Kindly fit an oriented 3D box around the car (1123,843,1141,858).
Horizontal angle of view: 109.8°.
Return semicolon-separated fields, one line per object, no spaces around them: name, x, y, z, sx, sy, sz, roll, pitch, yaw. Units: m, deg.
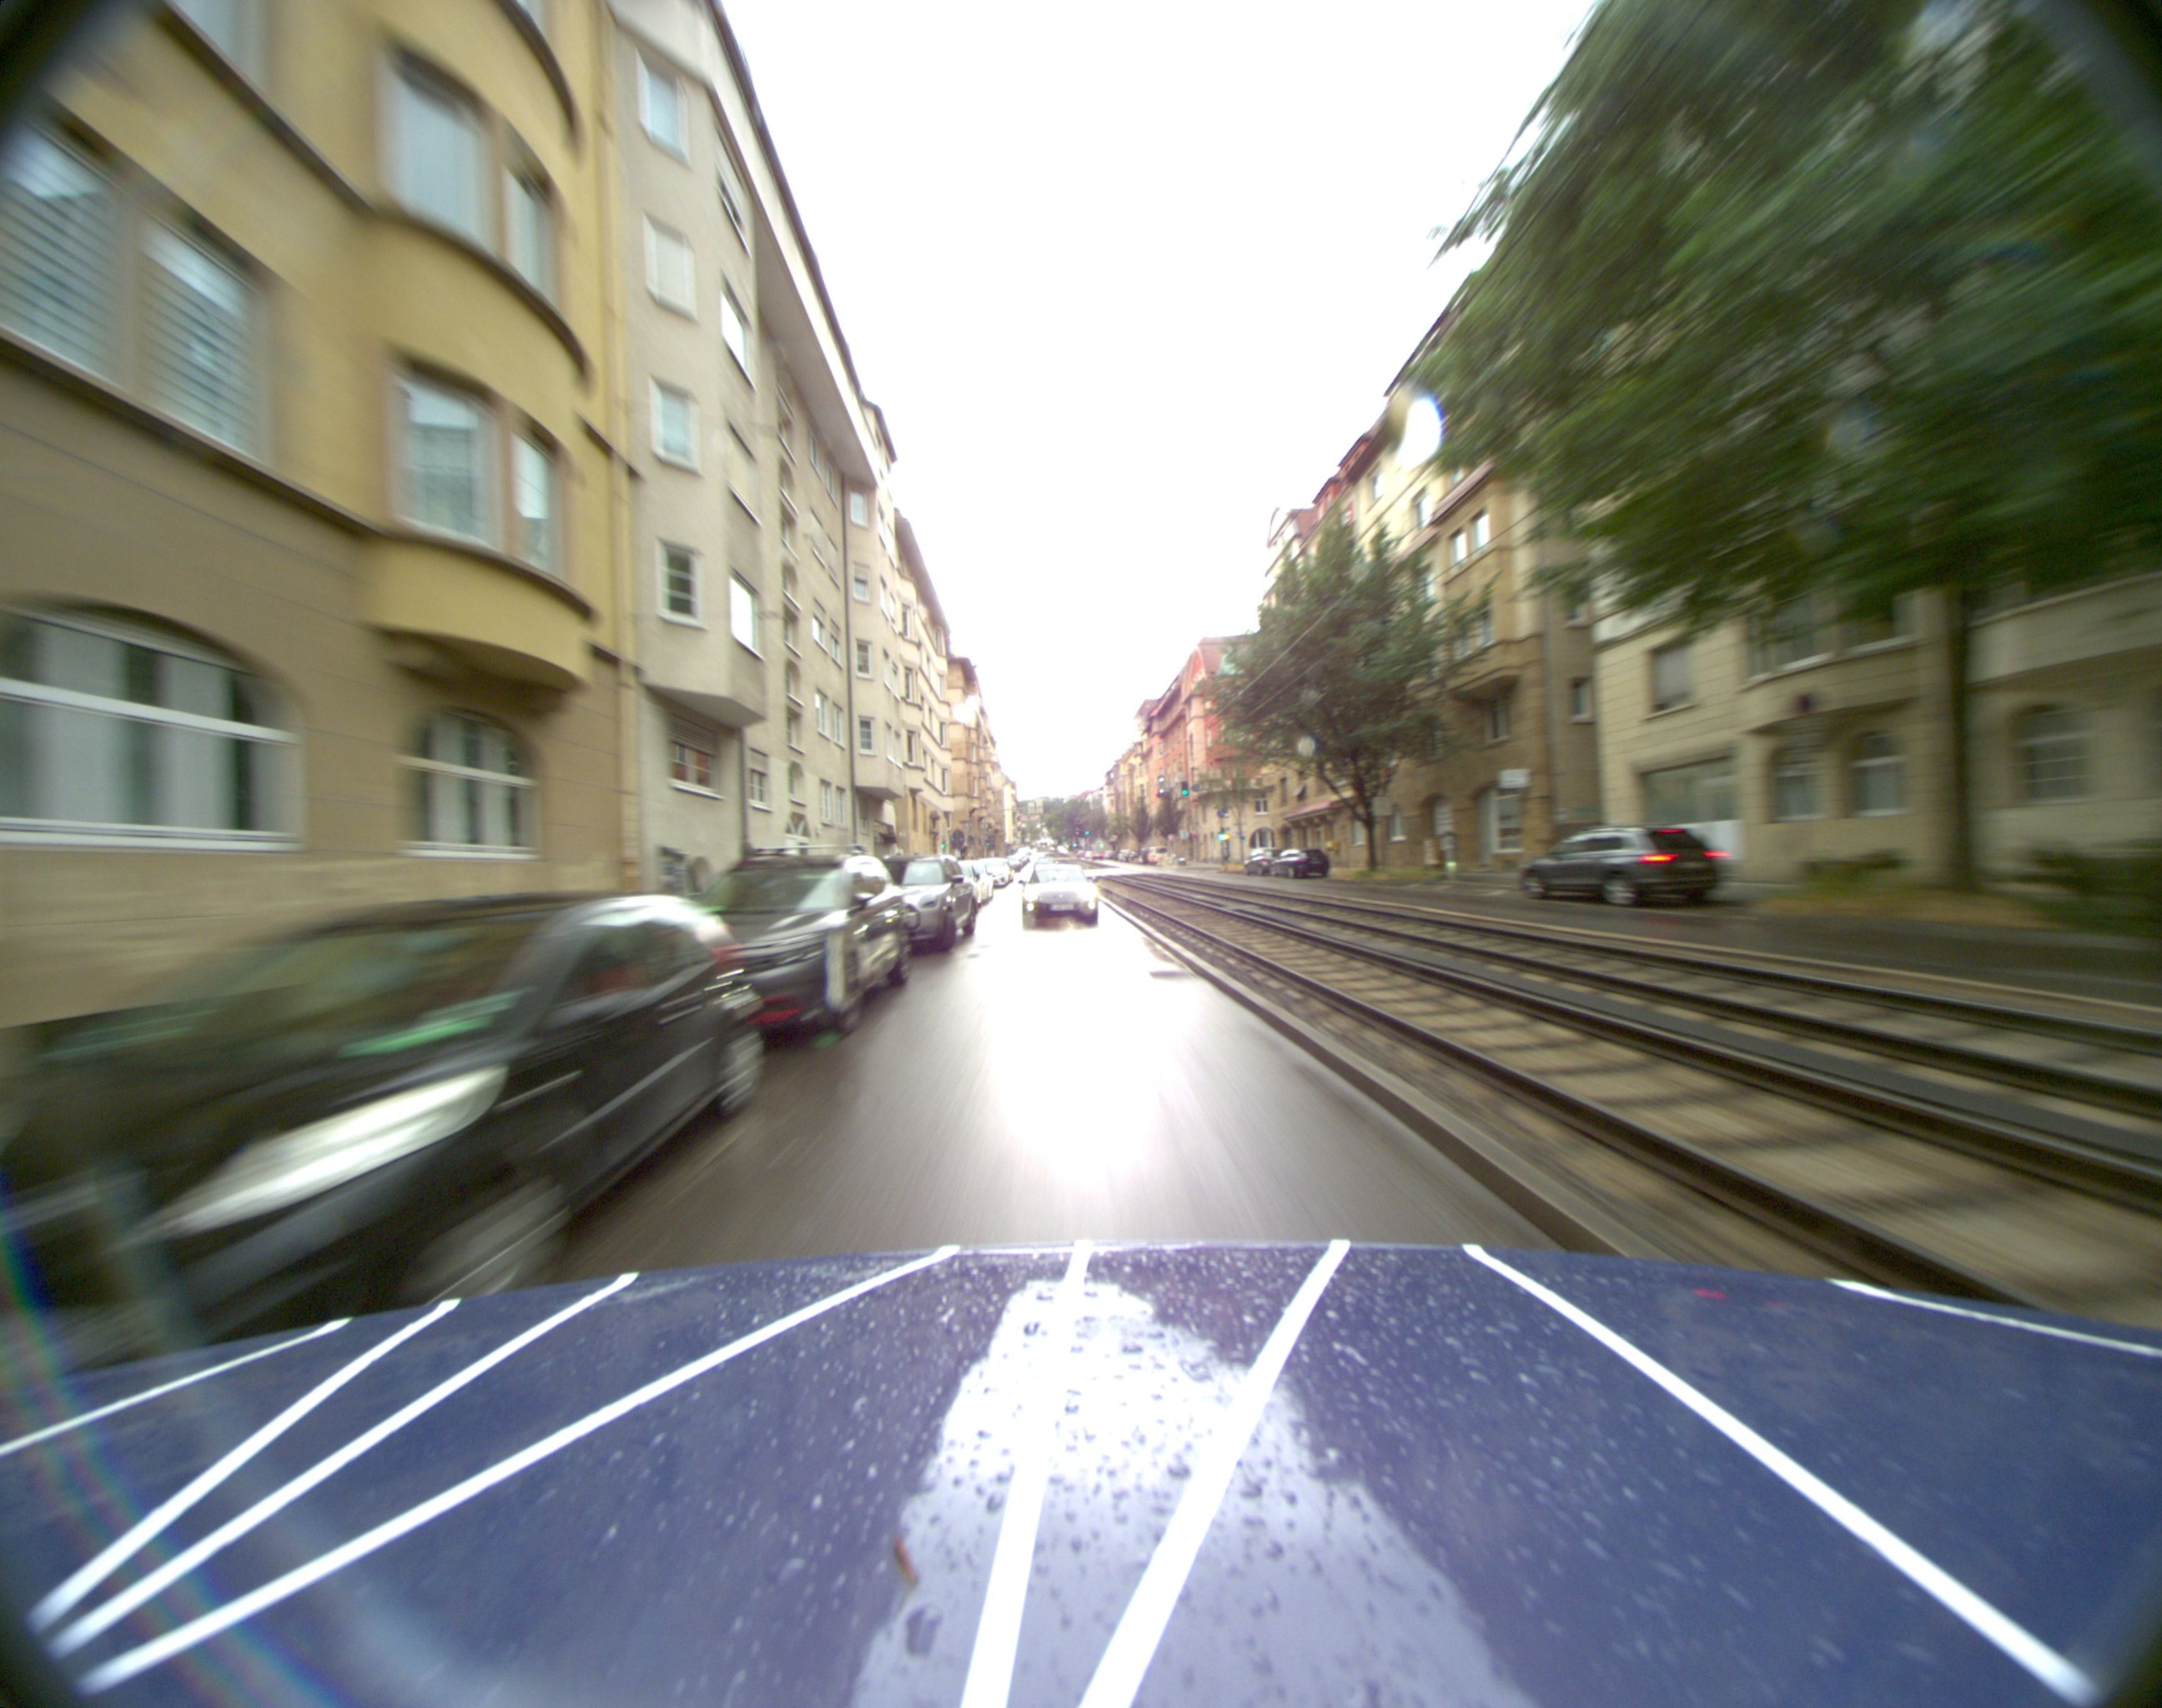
car;7.088;-0.507;106.274;1.999;1.958;3.999;-2;0;-3

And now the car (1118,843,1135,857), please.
car;6.749;-0.557;111.897;1.999;1.958;3.999;-2;0;-3

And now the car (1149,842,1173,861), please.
car;8.589;-0.293;81.881;1.999;1.958;3.999;-2;0;-3

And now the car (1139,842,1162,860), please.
car;8.118;-0.354;88.972;1.999;1.958;3.999;-2;0;-3

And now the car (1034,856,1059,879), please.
car;-2.345;0.897;51.921;1.690;1.451;3.298;0;0;-2

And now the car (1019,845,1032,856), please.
car;-9.440;-0.574;129.518;1.999;1.761;4.000;-4;0;-1

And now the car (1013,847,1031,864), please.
car;-7.278;0.183;93.972;1.999;1.958;3.999;-2;0;-2

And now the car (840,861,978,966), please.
car;-2.967;0.948;13.923;1.649;1.536;4.027;-2;0;-1

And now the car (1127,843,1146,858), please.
car;7.357;-0.463;101.417;1.999;1.958;3.999;-2;0;-3

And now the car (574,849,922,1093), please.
car;-2.959;0.875;7.881;1.741;1.788;4.264;-2;0;-1

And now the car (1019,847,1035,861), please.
car;-7.738;0.029;109.359;1.999;1.958;3.999;-2;0;-2

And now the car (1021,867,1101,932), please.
car;-0.476;1.024;18.663;1.705;1.280;4.194;-2;0;-1

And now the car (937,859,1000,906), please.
car;-3.881;0.934;26.698;1.649;1.424;4.027;-2;0;-1

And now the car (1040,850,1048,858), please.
car;-8.940;-0.025;183.395;1.999;1.958;3.999;-2;0;-3

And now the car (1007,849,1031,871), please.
car;-5.883;0.530;72.269;1.999;1.958;3.999;-2;0;-2

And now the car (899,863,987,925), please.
car;-3.571;0.982;20.287;1.649;1.368;4.027;-2;0;-1

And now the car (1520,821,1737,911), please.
car;11.819;0.227;16.782;1.649;1.696;4.097;-2;0;-3

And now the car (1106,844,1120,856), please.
car;5.448;-0.706;130.587;1.999;1.958;3.999;-2;0;-3

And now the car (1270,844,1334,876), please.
car;10.822;0.241;37.520;1.719;1.426;4.164;-2;1;-3

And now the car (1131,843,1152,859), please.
car;7.619;-0.414;96.137;1.999;1.958;3.999;-2;0;-3

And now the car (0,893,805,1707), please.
car;-2.771;1.037;3.404;1.633;1.443;3.999;-2;0;-1

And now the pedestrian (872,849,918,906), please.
pedestrian;-5.793;0.714;23.747;1.125;1.703;1.101;-2;1;-3

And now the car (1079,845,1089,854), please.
car;0.583;-1.021;175.950;1.999;1.958;3.999;-2;0;-3

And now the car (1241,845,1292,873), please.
car;10.558;0.250;43.522;1.649;1.481;4.164;-2;0;-3

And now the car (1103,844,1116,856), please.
car;5.154;-0.759;136.645;1.999;1.958;3.999;-2;0;-3

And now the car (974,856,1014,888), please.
car;-4.459;0.877;39.393;1.649;1.469;4.027;-2;0;-1
